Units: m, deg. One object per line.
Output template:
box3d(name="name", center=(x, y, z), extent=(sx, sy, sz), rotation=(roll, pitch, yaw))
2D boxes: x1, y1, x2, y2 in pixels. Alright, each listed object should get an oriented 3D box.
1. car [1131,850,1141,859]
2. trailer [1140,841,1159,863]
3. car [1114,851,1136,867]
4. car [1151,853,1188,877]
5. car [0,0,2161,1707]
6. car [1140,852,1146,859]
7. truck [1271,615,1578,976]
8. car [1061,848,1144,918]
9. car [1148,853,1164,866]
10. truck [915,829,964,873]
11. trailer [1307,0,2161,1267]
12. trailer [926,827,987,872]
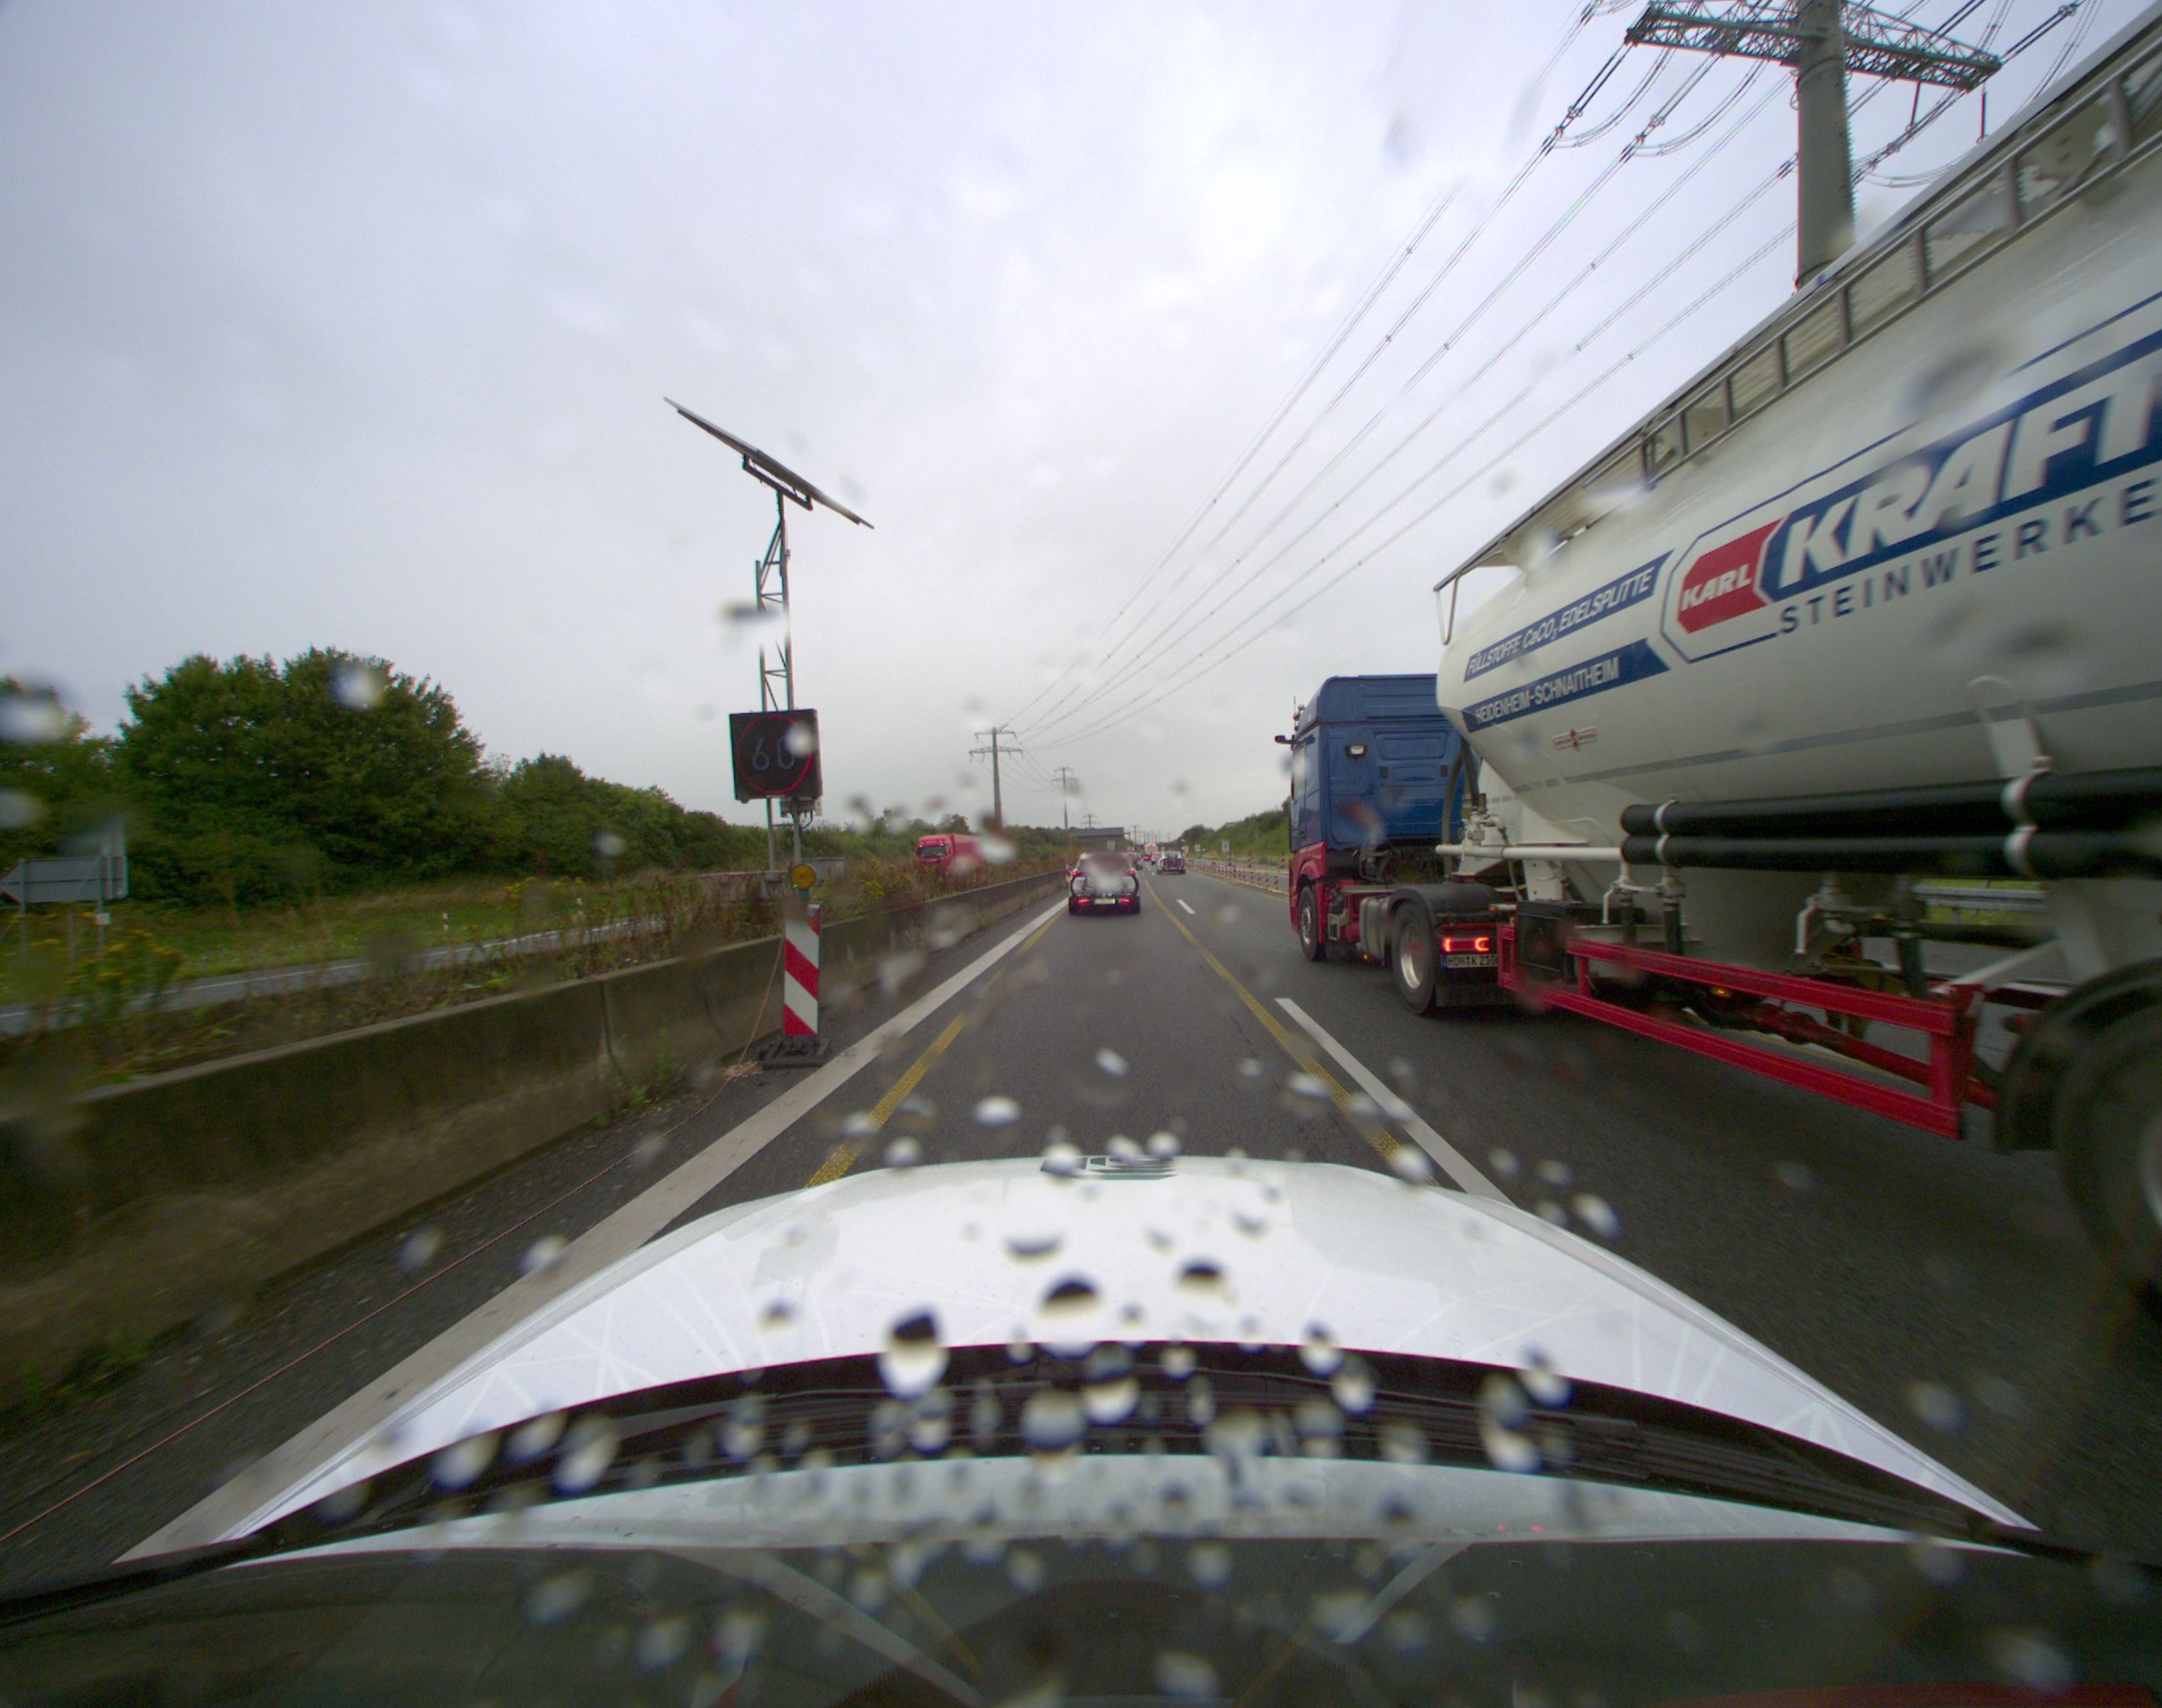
box3d(name="car", center=(12.472, 0.141, 184.023), extent=(1.987, 2.014, 4.000), rotation=(-1, -1, 0))
box3d(name="trailer", center=(12.914, -0.326, 154.482), extent=(2.629, 3.893, 10.542), rotation=(-1, -1, 0))
box3d(name="car", center=(4.552, 0.470, 84.612), extent=(1.987, 1.584, 4.000), rotation=(-1, 0, 0))
box3d(name="car", center=(6.233, 0.739, 57.948), extent=(2.039, 1.596, 5.801), rotation=(-1, 0, 0))
box3d(name="car", center=(-0.391, 0.686, 0.242), extent=(1.986, 1.760, 4.002), rotation=(-3, 0, 2))
box3d(name="car", center=(18.031, 0.371, 235.158), extent=(1.646, 2.013, 4.005), rotation=(-1, 0, 4))
box3d(name="truck", center=(4.239, -0.621, 10.966), extent=(2.537, 3.947, 4.002), rotation=(-1, -1, 2))
box3d(name="car", center=(0.621, 0.685, 21.409), extent=(1.920, 1.611, 4.598), rotation=(-1, 0, 3))
box3d(name="car", center=(9.338, 0.679, 102.044), extent=(1.862, 1.535, 4.201), rotation=(-2, 0, 4))
box3d(name="truck", center=(-11.855, -0.223, 68.553), extent=(3.012, 3.531, 4.929), rotation=(-1, -1, 2))
box3d(name="trailer", center=(4.105, -0.837, 4.704), extent=(2.510, 3.834, 12.355), rotation=(-1, -1, 2))
box3d(name="trailer", center=(-11.466, -0.275, 76.555), extent=(3.025, 3.814, 13.985), rotation=(-1, -1, 2))
